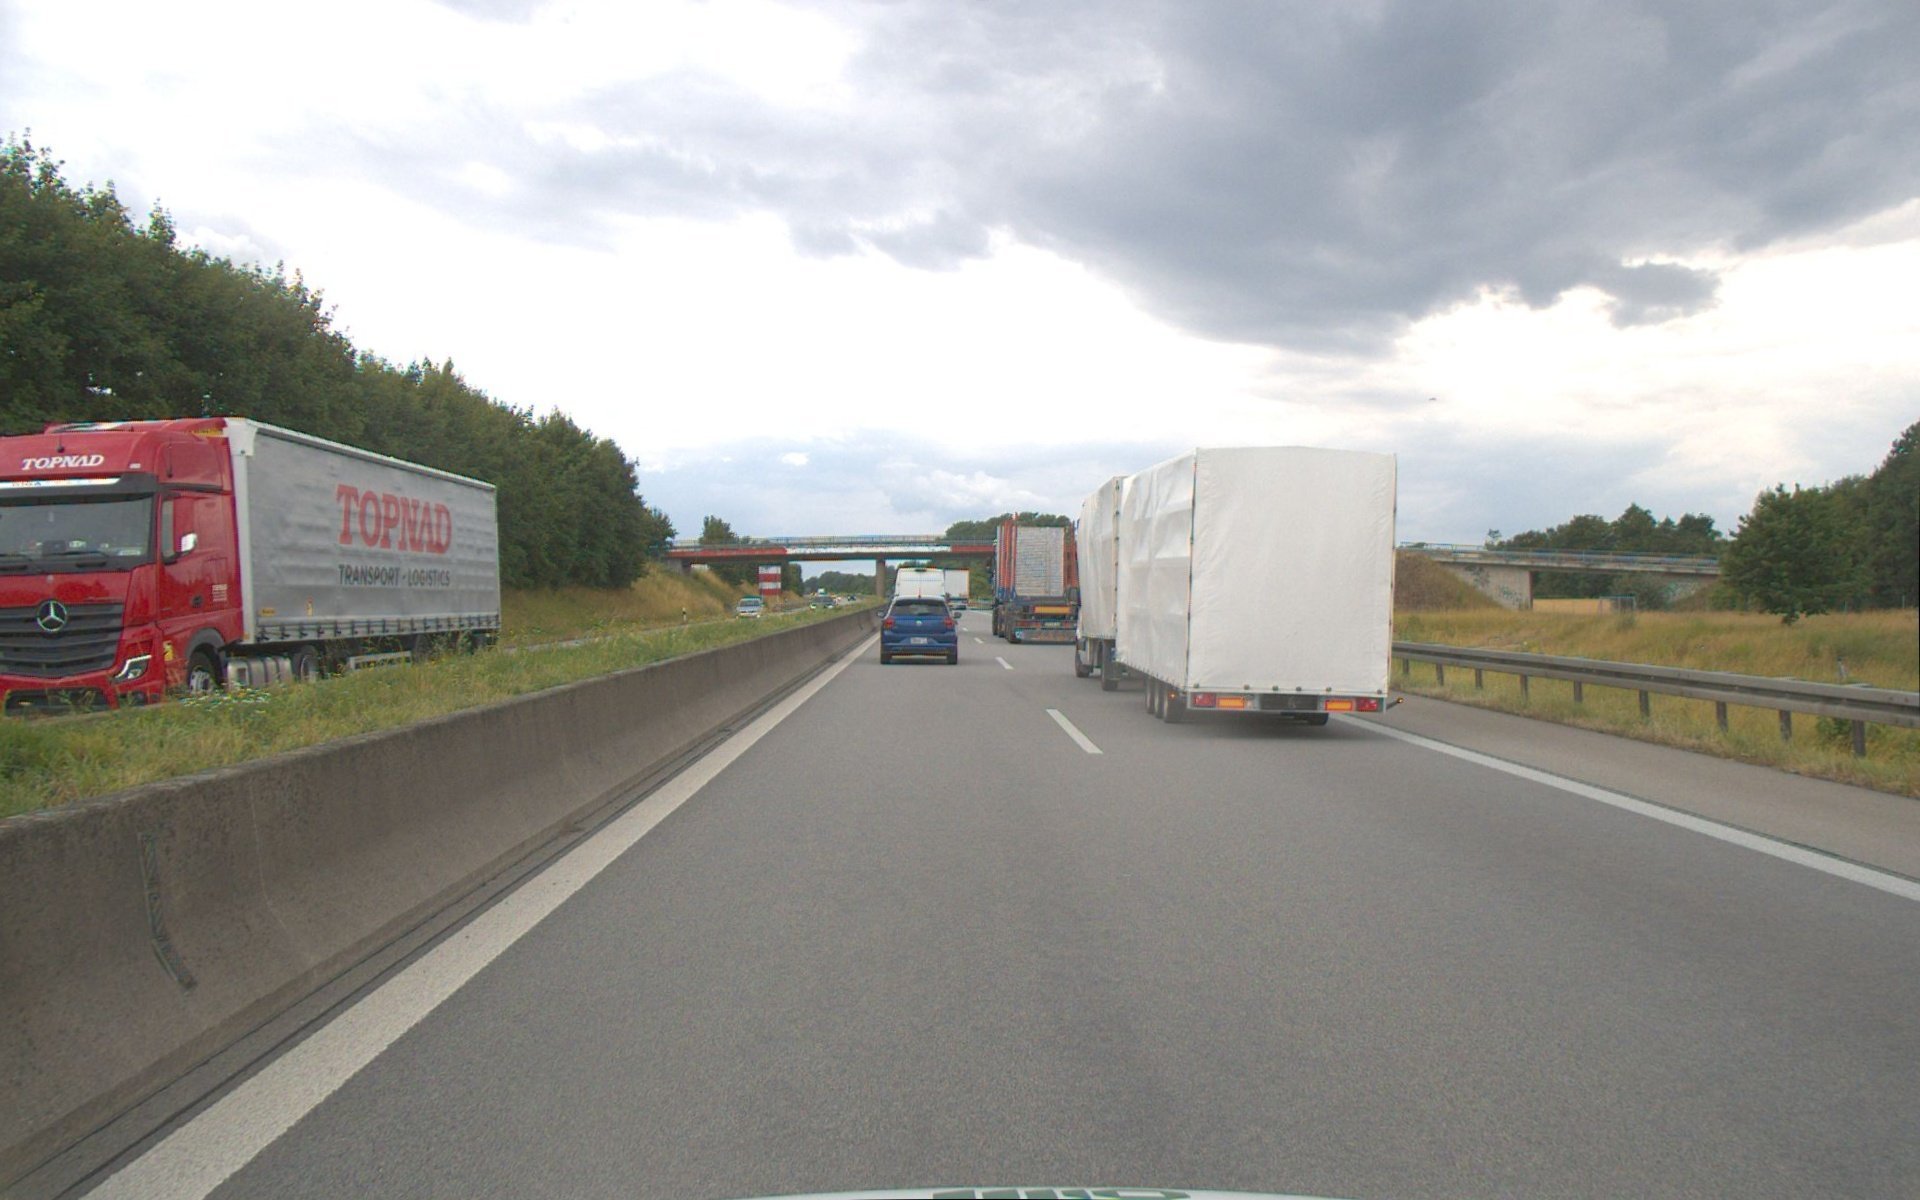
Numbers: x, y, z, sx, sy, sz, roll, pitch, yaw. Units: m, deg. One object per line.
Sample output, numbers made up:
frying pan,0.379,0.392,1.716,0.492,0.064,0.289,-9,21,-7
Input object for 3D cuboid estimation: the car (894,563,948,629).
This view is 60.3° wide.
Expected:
car,-1.580,-0.175,66.776,2.087,2.526,5.838,0,0,-2

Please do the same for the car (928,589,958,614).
car,-1.016,0.063,97.407,1.630,1.431,3.647,0,1,-2

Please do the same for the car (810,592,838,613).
car,-10.234,0.173,124.590,1.811,1.402,4.599,-3,0,-1

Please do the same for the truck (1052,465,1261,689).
truck,3.107,-0.349,28.055,2.381,3.300,7.244,0,0,-2

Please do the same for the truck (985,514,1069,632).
truck,2.397,-0.998,60.908,2.619,4.116,5.510,-1,1,-2

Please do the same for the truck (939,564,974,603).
truck,-0.431,-1.625,169.206,3.048,3.754,9.317,-2,0,-3

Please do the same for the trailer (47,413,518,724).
trailer,-11.237,-0.529,29.977,2.652,4.159,14.594,-2,1,-1

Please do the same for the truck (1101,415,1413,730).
truck,3.413,-0.296,20.850,2.367,3.278,7.140,0,0,-3

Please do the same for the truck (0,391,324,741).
truck,-11.074,-0.436,22.633,2.652,4.159,5.163,-2,1,-1

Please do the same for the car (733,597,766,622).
car,-12.957,0.594,101.793,1.613,1.434,3.886,-3,0,-2

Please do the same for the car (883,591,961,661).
car,-0.868,0.539,36.491,1.630,1.431,3.647,0,1,-2

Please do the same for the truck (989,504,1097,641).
truck,2.612,-0.923,55.551,2.619,4.116,11.102,-1,1,-2
